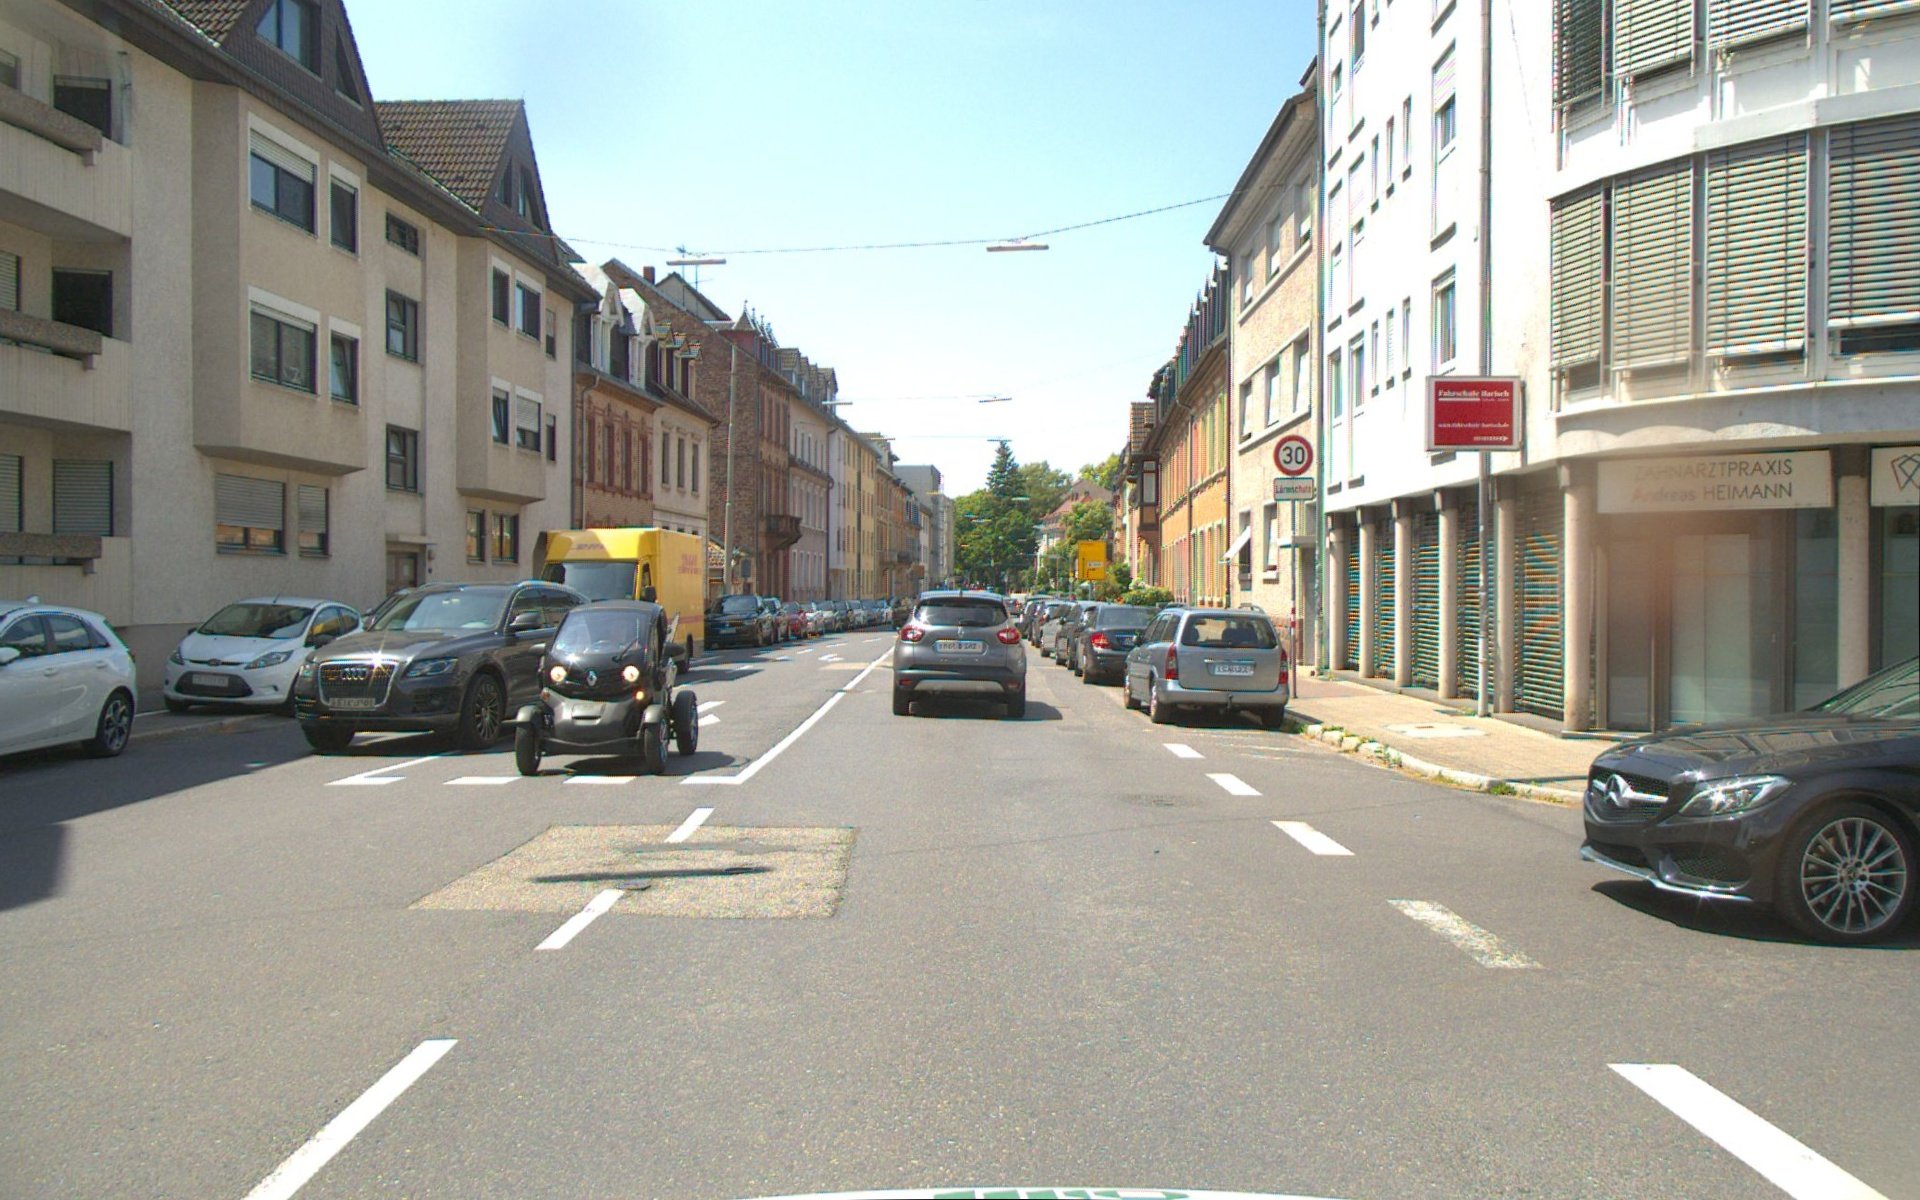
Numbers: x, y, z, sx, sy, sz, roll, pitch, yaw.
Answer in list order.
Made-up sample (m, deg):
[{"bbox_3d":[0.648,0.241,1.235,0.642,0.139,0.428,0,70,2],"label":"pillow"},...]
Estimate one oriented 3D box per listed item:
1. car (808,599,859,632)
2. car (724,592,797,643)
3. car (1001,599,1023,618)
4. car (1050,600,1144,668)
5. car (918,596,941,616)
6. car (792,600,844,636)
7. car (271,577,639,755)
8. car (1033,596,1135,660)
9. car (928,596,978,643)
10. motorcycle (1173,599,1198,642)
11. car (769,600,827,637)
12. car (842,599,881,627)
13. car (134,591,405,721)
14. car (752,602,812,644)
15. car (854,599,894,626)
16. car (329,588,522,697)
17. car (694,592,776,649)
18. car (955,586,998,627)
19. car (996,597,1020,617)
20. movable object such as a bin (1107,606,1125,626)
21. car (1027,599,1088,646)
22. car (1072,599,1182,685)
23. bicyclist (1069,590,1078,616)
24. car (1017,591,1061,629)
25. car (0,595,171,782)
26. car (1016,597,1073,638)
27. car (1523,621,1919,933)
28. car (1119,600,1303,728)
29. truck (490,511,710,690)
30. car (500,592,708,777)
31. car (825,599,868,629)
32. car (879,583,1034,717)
[{"bbox_3d":[-6.143,0.760,80.579,1.801,1.447,4.504,-4,0,3],"label":"car"},{"bbox_3d":[-6.922,0.599,57.714,1.802,1.624,4.503,-3,0,1],"label":"car"},{"bbox_3d":[4.311,0.673,137.051,1.726,1.587,3.944,0,0,4],"label":"car"},{"bbox_3d":[3.012,0.720,37.055,1.618,1.445,4.046,0,0,-2],"label":"car"},{"bbox_3d":[-2.617,0.533,142.511,1.866,1.648,4.301,-2,0,-1],"label":"car"},{"bbox_3d":[-6.394,0.817,74.713,1.802,1.447,4.502,-4,0,1],"label":"car"},{"bbox_3d":[-5.193,0.634,17.721,1.773,1.649,4.445,-1,0,13],"label":"car"},{"bbox_3d":[3.078,0.683,42.001,1.818,1.489,4.545,1,0,-5],"label":"car"},{"bbox_3d":[-0.232,0.706,62.128,1.775,1.649,4.442,-1,0,1],"label":"car"},{"bbox_3d":[6.698,0.611,49.061,0.583,1.246,1.361,0,0,1],"label":"motorcycle"},{"bbox_3d":[-6.704,0.766,68.853,1.802,1.447,4.503,-2,0,2],"label":"car"},{"bbox_3d":[-5.437,0.704,91.756,1.802,1.447,4.646,-2,0,0],"label":"car"},{"bbox_3d":[-9.215,0.701,22.499,1.802,1.515,4.386,3,0,-1],"label":"car"},{"bbox_3d":[-6.666,0.842,62.409,1.802,1.447,4.501,-3,0,-1],"label":"car"},{"bbox_3d":[-5.048,0.741,97.529,1.801,1.447,4.560,-3,0,4],"label":"car"},{"bbox_3d":[-8.887,0.669,27.898,1.802,1.623,4.386,3,0,-1],"label":"car"},{"bbox_3d":[-6.990,0.628,51.769,1.802,1.624,4.503,-2,0,2],"label":"car"},{"bbox_3d":[0.884,0.326,87.214,1.951,2.049,4.469,0,0,5],"label":"car"},{"bbox_3d":[3.787,0.537,130.657,1.726,1.587,3.944,0,0,4],"label":"car"},{"bbox_3d":[7.132,0.744,75.739,0.772,0.923,0.539,0,0,-1],"label":"movable object such as a bin"},{"bbox_3d":[3.067,0.712,52.560,1.666,1.405,4.166,1,0,0],"label":"car"},{"bbox_3d":[3.054,0.728,30.967,1.676,1.499,4.438,0,0,1],"label":"car"},{"bbox_3d":[6.398,0.170,93.299,0.521,1.495,0.791,0,0,3],"label":"bicyclist"},{"bbox_3d":[3.597,0.445,75.770,1.952,1.691,4.626,0,0,2],"label":"car"},{"bbox_3d":[-8.967,0.734,14.704,1.802,1.515,4.385,3,0,-1],"label":"car"},{"bbox_3d":[3.092,0.644,61.183,1.615,1.439,4.498,1,0,-4],"label":"car"},{"bbox_3d":[5.531,0.851,8.648,4.489,1.389,1.999,1,0,-3],"label":"car"},{"bbox_3d":[3.209,0.768,21.862,1.644,1.480,4.141,2,0,-2],"label":"car"},{"bbox_3d":[-6.350,0.009,30.356,2.179,2.819,7.565,-1,0,1],"label":"truck"},{"bbox_3d":[-3.072,0.678,14.689,1.467,1.484,2.720,0,0,-5],"label":"car"},{"bbox_3d":[-5.859,0.713,85.831,1.802,1.447,4.502,-2,0,0],"label":"car"},{"bbox_3d":[-0.136,0.608,22.511,1.710,1.644,3.995,1,0,-6],"label":"car"}]
